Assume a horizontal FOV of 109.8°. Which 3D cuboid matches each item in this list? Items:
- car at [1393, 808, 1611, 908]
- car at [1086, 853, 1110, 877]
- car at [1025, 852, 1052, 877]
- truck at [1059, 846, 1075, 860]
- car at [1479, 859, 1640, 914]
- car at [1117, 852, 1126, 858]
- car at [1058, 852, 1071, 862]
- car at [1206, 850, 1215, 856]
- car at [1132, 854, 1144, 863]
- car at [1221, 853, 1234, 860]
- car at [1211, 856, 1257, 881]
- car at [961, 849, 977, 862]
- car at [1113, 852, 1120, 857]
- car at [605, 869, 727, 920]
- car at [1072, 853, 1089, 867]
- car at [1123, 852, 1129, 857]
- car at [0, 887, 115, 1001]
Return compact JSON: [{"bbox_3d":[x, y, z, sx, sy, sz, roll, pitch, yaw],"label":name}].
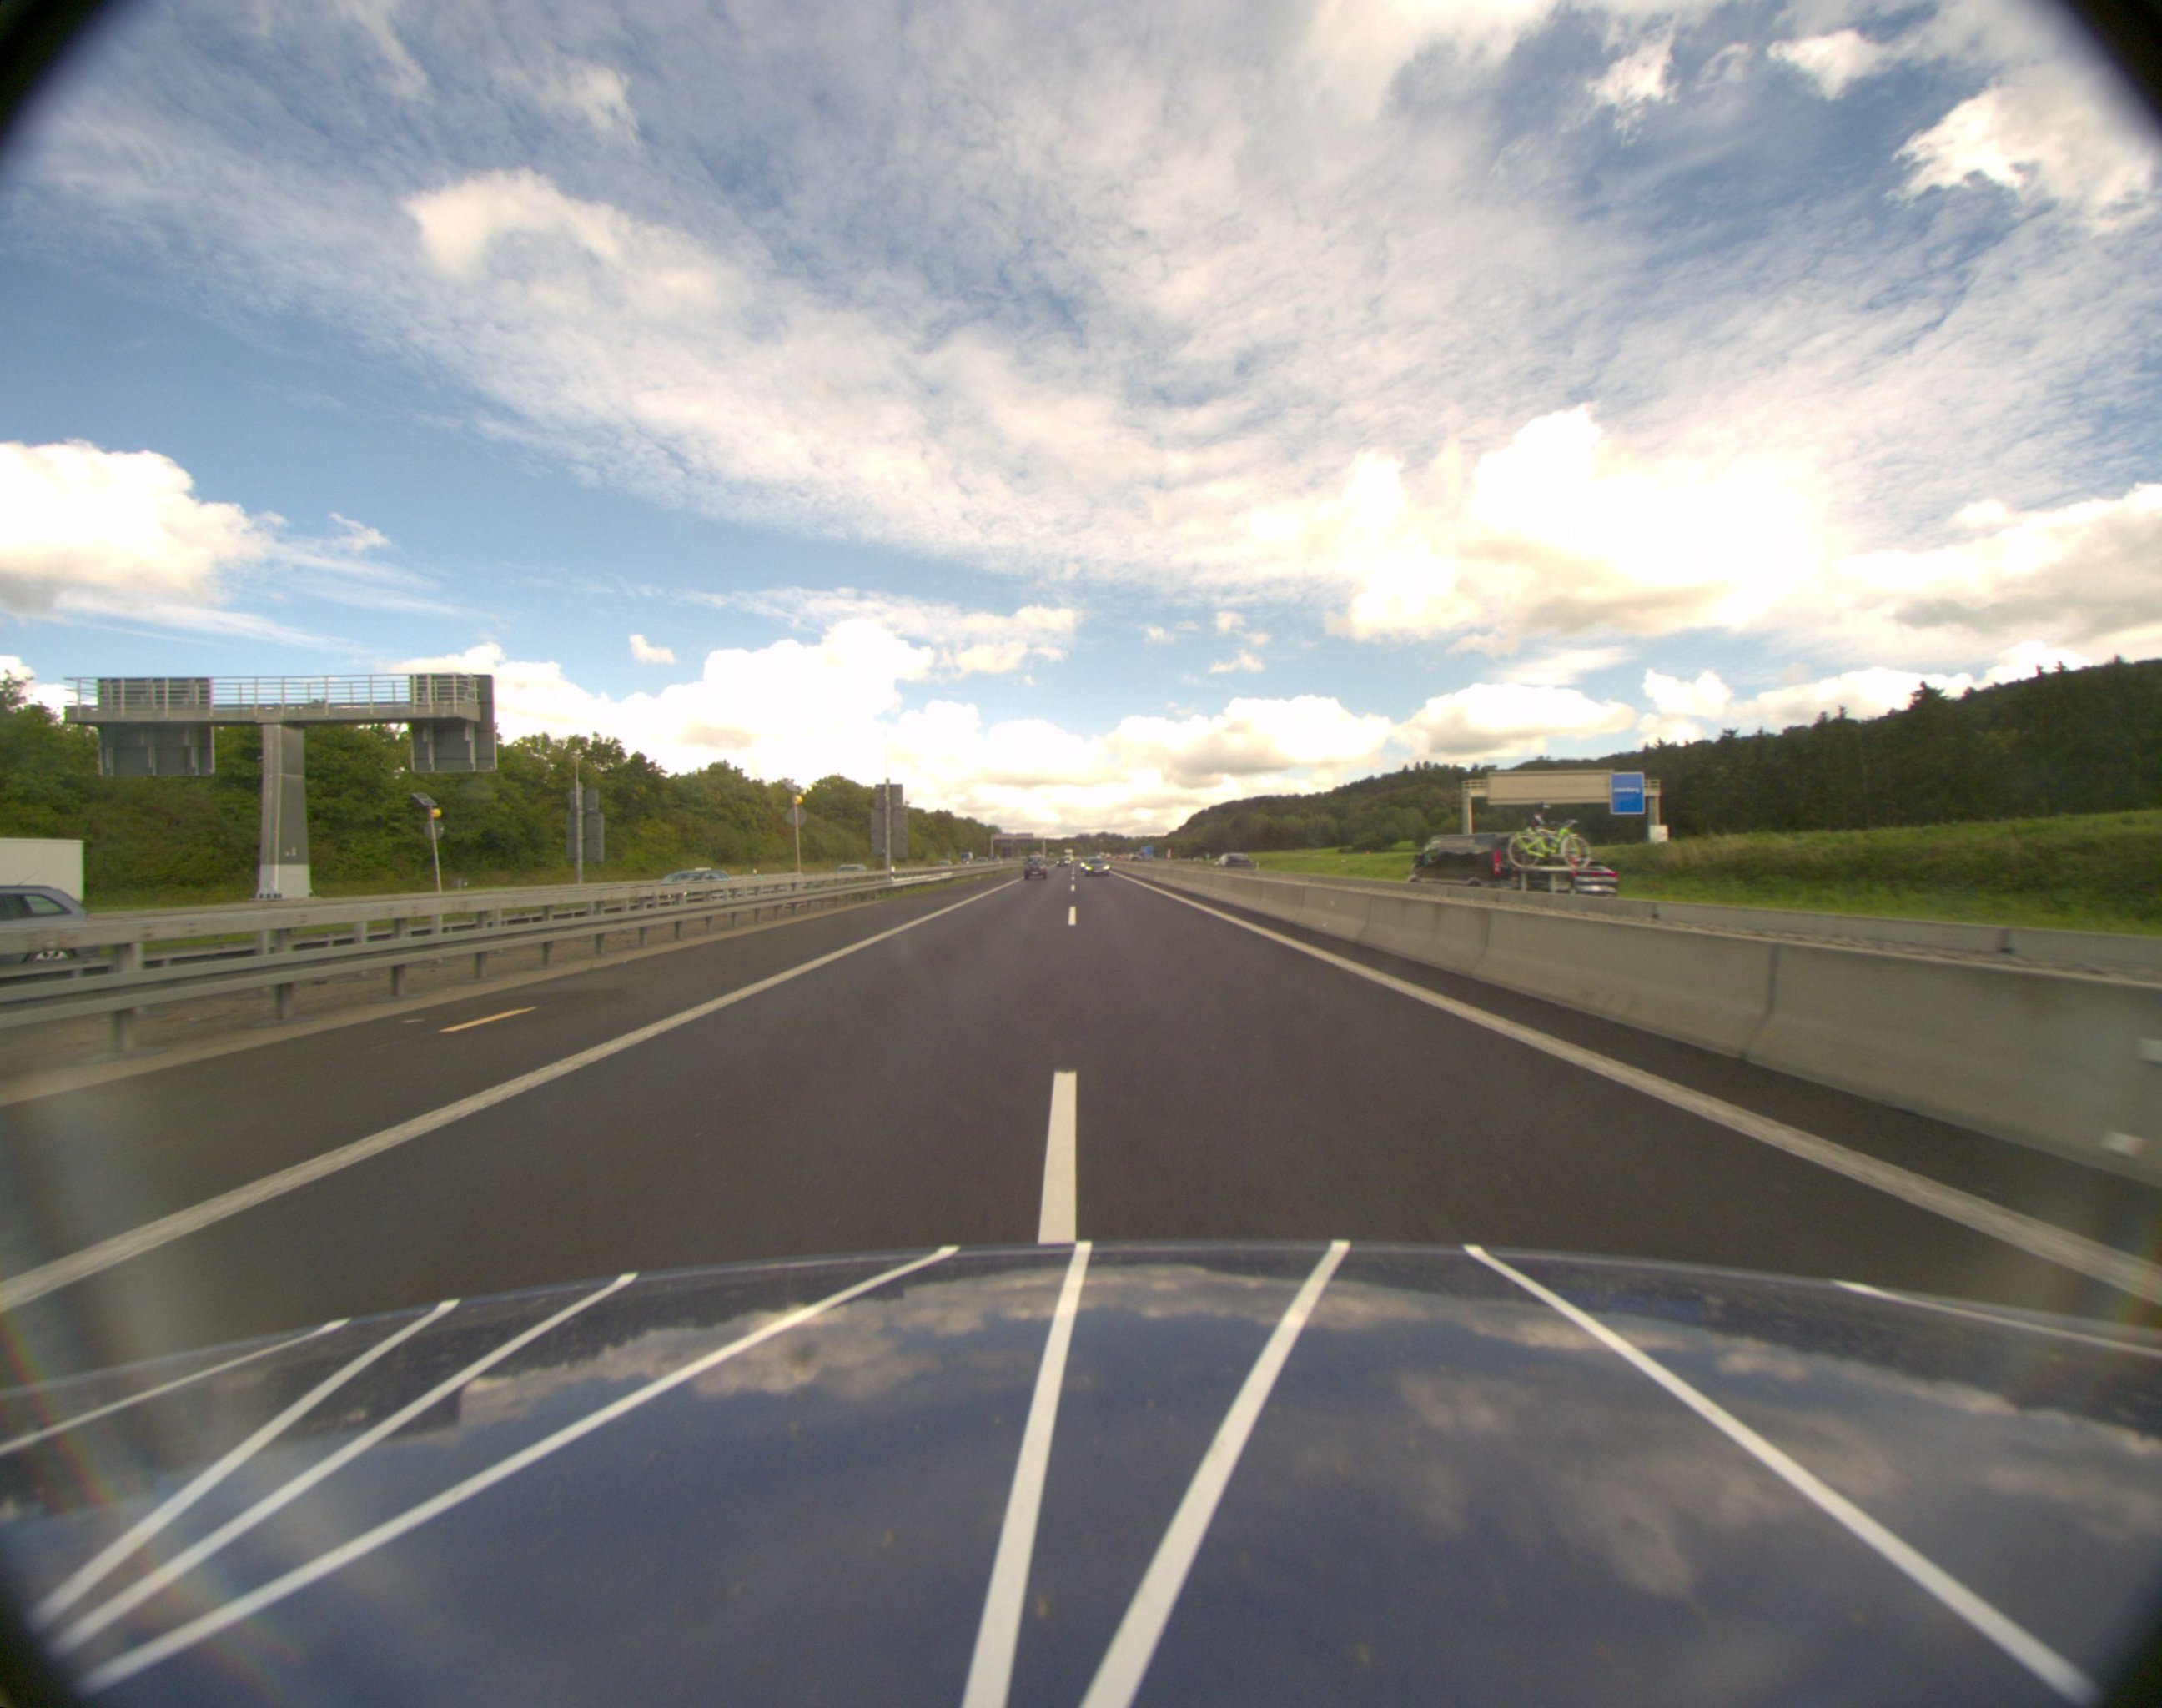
[{"bbox_3d":[9.645,0.059,18.165,1.998,2.002,5.840,0,0,1],"label":"car"},{"bbox_3d":[1.292,0.808,57.304,1.724,1.722,3.939,-1,0,1],"label":"car"},{"bbox_3d":[-3.133,0.742,56.845,1.670,1.722,4.207,-1,0,1],"label":"car"},{"bbox_3d":[-4.529,-0.353,255.535,4.948,4.306,14.629,0,0,1],"label":"truck"},{"bbox_3d":[14.376,0.906,23.215,1.998,1.470,4.691,0,0,1],"label":"car"},{"bbox_3d":[9.319,0.154,175.992,1.792,1.390,4.799,0,0,0],"label":"car"},{"bbox_3d":[-2.833,0.441,128.943,1.998,1.591,4.000,0,0,1],"label":"car"},{"bbox_3d":[39.701,-0.274,232.693,1.999,2.002,3.998,0,0,-4],"label":"car"},{"bbox_3d":[9.789,0.744,130.692,1.792,1.390,4.623,0,0,1],"label":"car"},{"bbox_3d":[34.255,0.637,177.734,1.778,1.539,4.887,0,0,-5],"label":"car"},{"bbox_3d":[10.085,0.915,50.463,1.998,1.564,5.365,0,0,1],"label":"car"},{"bbox_3d":[-18.542,0.250,126.191,1.999,2.173,5.127,-1,0,-1],"label":"car"},{"bbox_3d":[10.057,0.245,217.367,1.792,1.390,4.724,0,0,0],"label":"car"},{"bbox_3d":[-14.064,1.309,26.052,1.999,1.476,3.999,-1,0,-1],"label":"car"},{"bbox_3d":[0.010,0.663,82.041,1.724,1.406,3.939,-1,0,1],"label":"car"},{"bbox_3d":[14.174,0.174,241.091,1.732,1.390,4.157,0,0,0],"label":"car"},{"bbox_3d":[-17.893,1.450,11.266,1.998,1.698,3.999,0,0,0],"label":"car"}]
